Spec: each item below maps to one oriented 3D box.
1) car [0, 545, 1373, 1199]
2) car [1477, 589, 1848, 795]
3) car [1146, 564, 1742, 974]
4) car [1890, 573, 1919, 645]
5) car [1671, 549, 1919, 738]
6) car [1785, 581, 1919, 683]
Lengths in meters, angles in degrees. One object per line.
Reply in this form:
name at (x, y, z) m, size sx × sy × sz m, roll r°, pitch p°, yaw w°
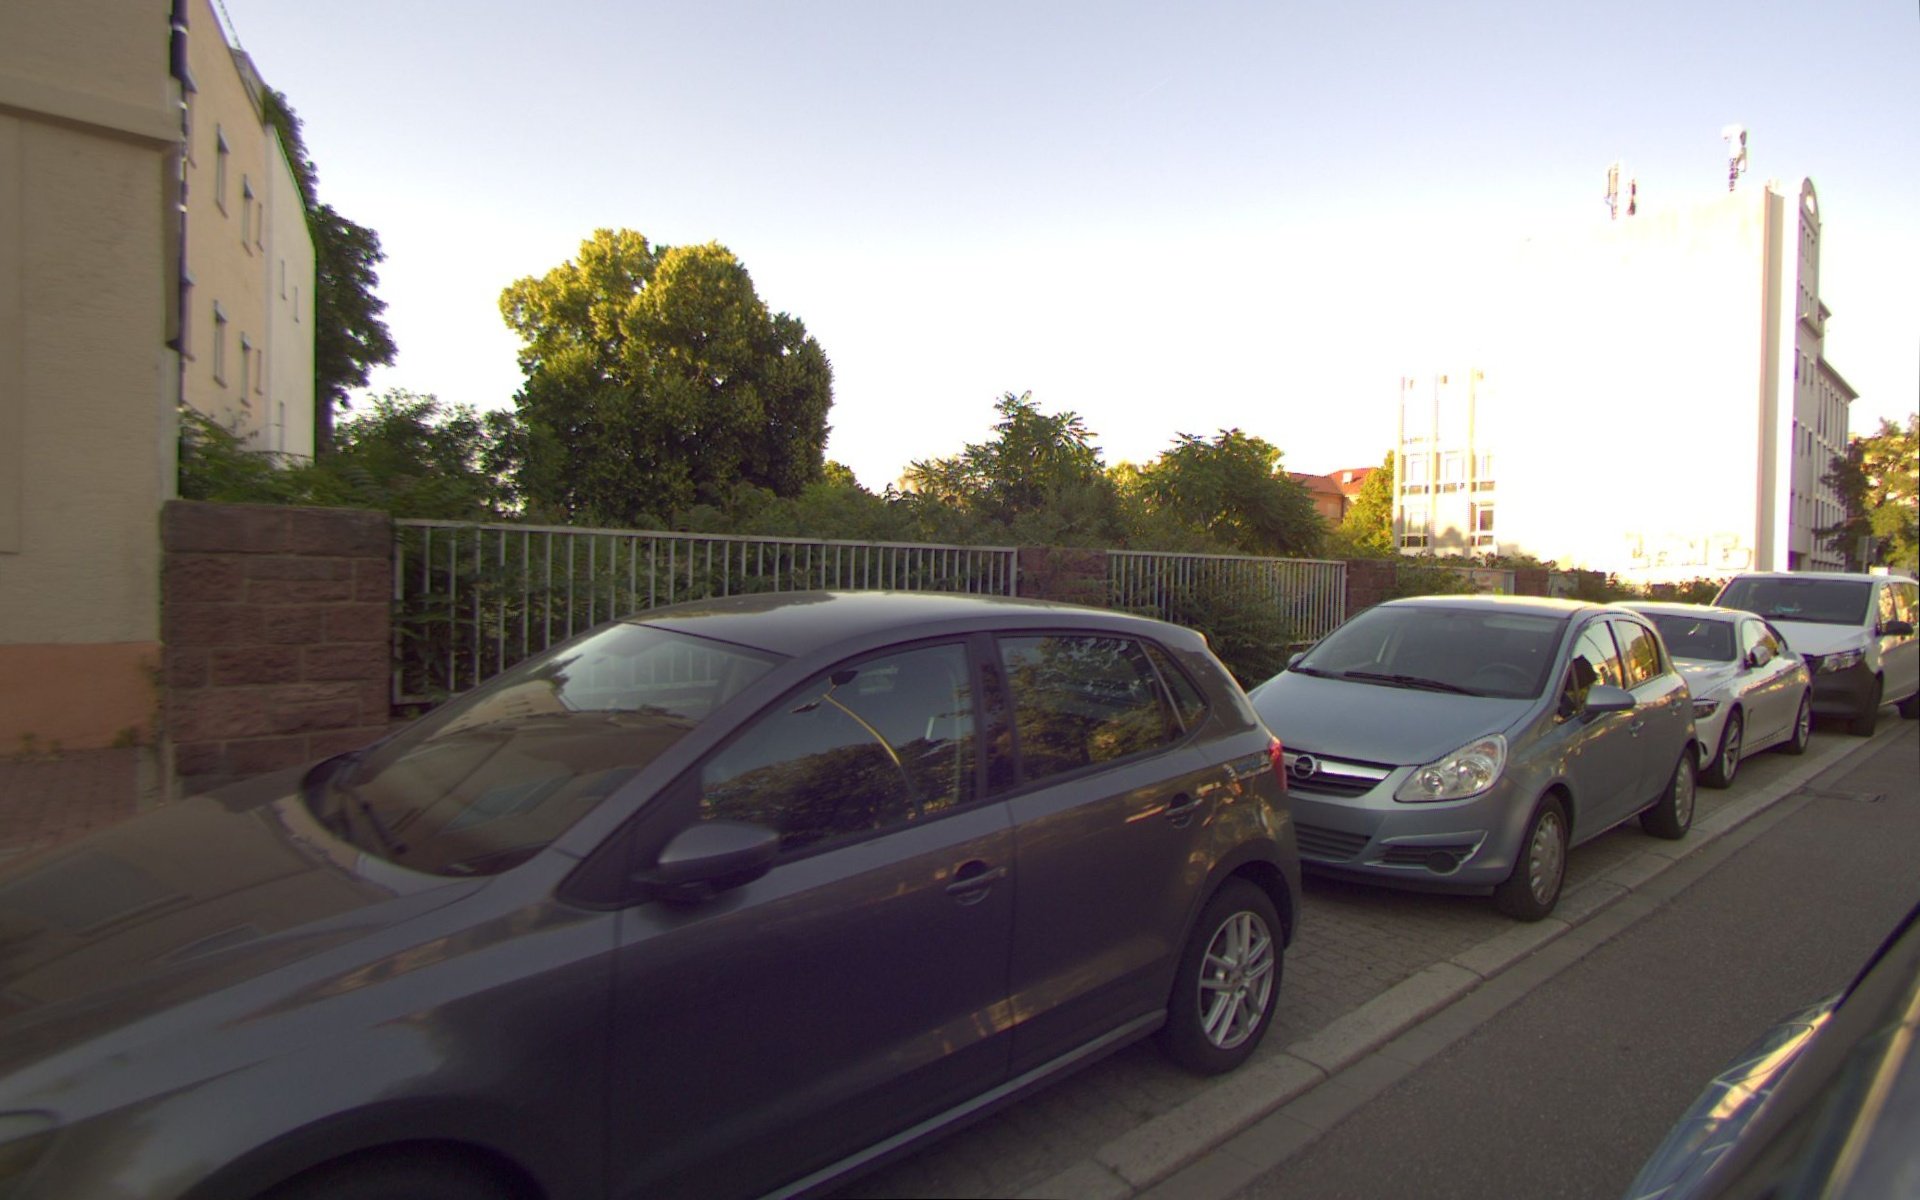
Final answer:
car at (-0.621, 0.652, 2.882) m, size 3.773 × 1.443 × 1.751 m, roll 0°, pitch 5°, yaw -41°
car at (6.821, 0.666, 9.622) m, size 4.561 × 1.401 × 1.732 m, roll 0°, pitch 5°, yaw -41°
car at (2.972, 0.627, 5.842) m, size 3.826 × 1.505 × 1.704 m, roll 0°, pitch 5°, yaw -42°
car at (27.040, 0.266, 27.636) m, size 4.474 × 1.851 × 1.778 m, roll 0°, pitch 4°, yaw -40°
car at (11.292, 0.426, 13.118) m, size 5.084 × 1.941 × 1.894 m, roll 0°, pitch 4°, yaw -38°
car at (17.072, 0.518, 18.873) m, size 4.420 × 1.593 × 1.778 m, roll 0°, pitch 4°, yaw -41°
